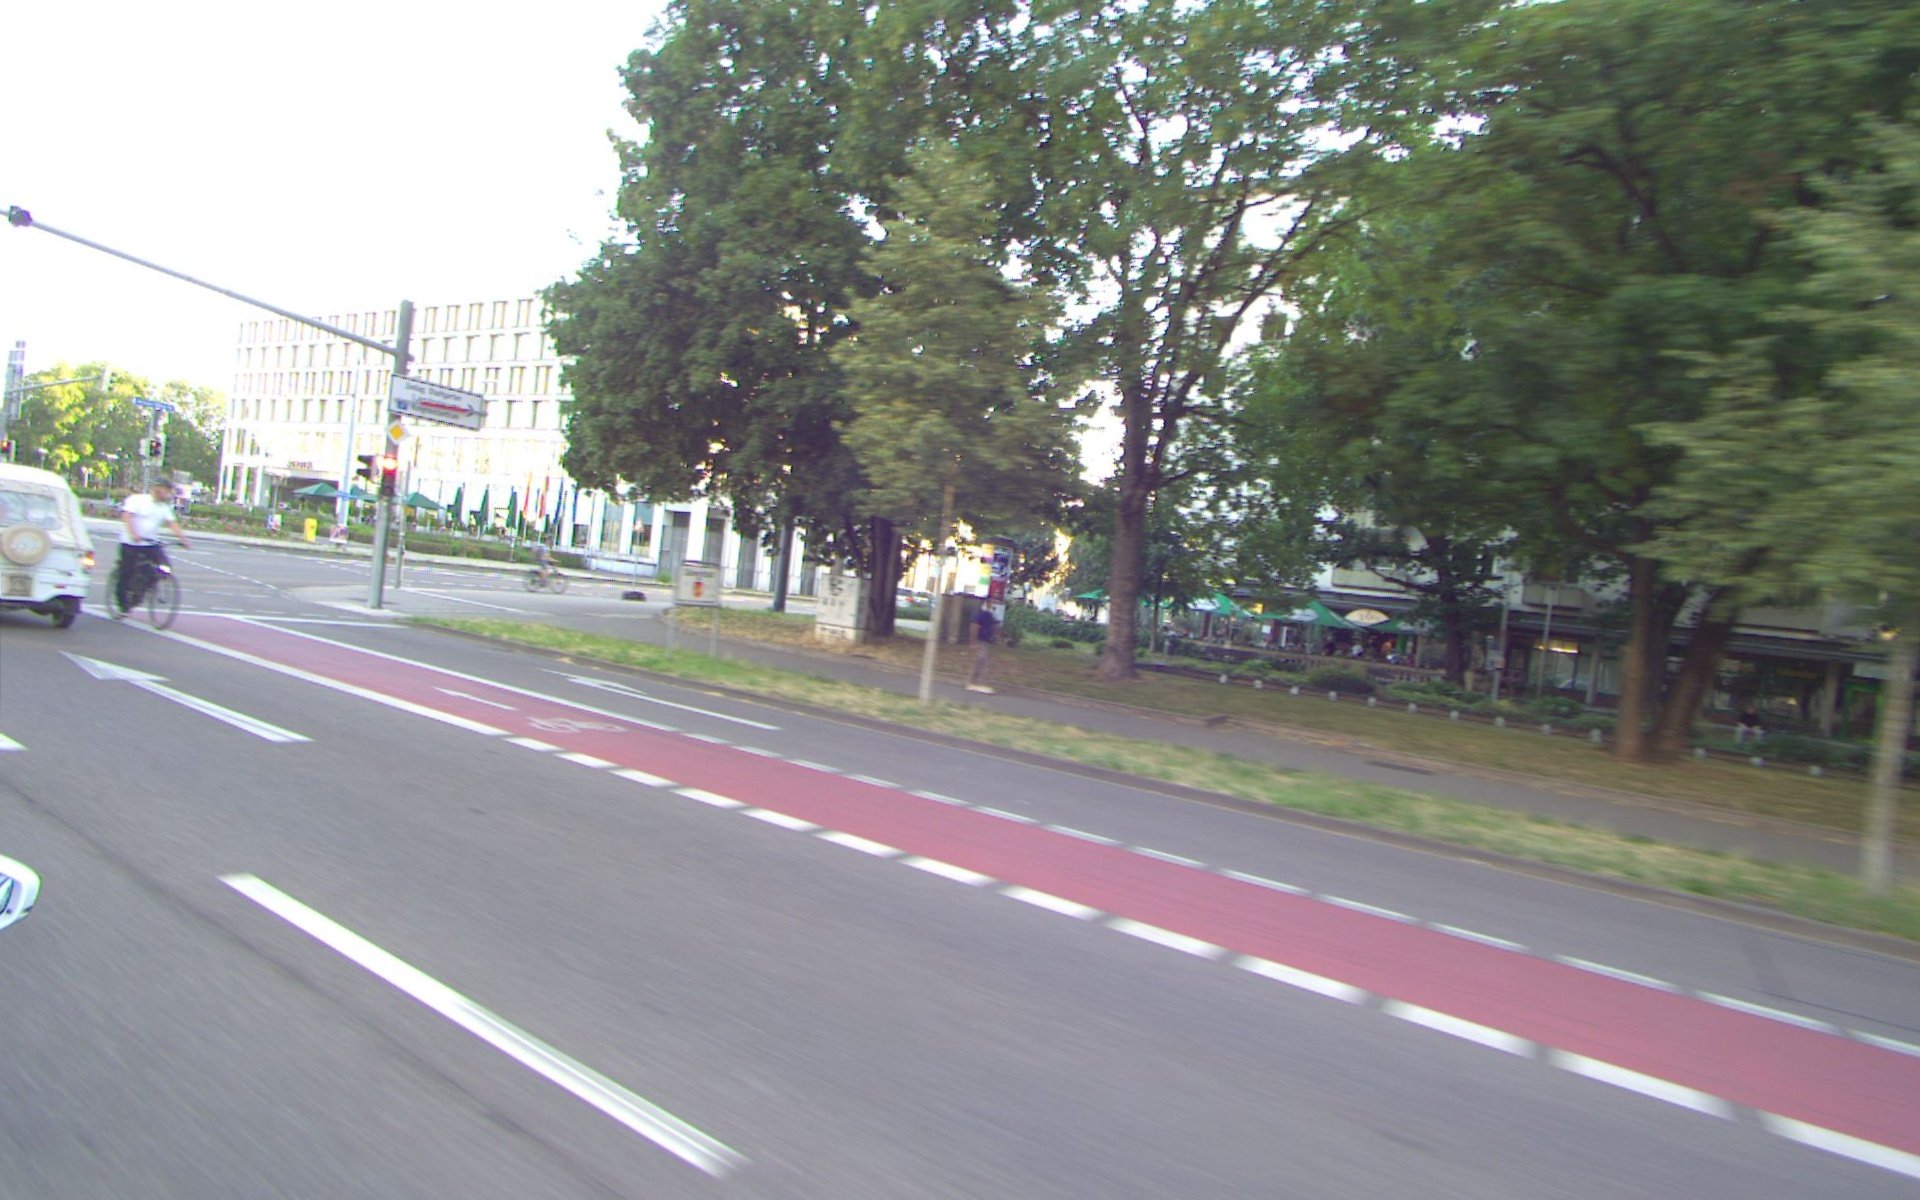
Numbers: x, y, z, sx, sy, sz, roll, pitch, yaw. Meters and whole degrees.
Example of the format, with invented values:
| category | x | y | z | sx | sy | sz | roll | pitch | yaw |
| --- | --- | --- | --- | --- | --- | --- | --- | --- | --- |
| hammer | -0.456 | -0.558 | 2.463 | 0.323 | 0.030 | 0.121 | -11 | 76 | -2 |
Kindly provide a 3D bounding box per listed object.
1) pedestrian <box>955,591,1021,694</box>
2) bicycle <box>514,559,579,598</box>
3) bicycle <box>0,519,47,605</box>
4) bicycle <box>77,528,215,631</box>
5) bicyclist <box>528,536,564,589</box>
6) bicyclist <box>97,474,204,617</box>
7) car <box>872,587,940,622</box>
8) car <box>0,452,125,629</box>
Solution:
| category | x | y | z | sx | sy | sz | roll | pitch | yaw |
| --- | --- | --- | --- | --- | --- | --- | --- | --- | --- |
| pedestrian | 0.497 | 0.754 | 17.862 | 0.736 | 1.714 | 0.695 | 7 | 1 | 32 |
| bicycle | -14.246 | -0.725 | 34.682 | 0.719 | 1.082 | 1.897 | 7 | -1 | 35 |
| bicycle | -13.450 | -0.624 | 13.216 | 2.007 | 1.081 | 0.723 | 9 | -1 | -38 |
| bicycle | -10.543 | -0.272 | 13.012 | 1.871 | 1.081 | 0.730 | 7 | -1 | 32 |
| bicyclist | -14.240 | -1.280 | 34.609 | 0.704 | 1.714 | 0.746 | 7 | 1 | 36 |
| bicyclist | -10.414 | -0.686 | 12.945 | 0.736 | 1.714 | 0.763 | 7 | 1 | 32 |
| car | -3.158 | 0.295 | 59.718 | 1.964 | 1.668 | 4.544 | 7 | 0 | 25 |
| car | -10.959 | -0.779 | 11.483 | 2.524 | 1.803 | 1.460 | 9 | 1 | 35 |
